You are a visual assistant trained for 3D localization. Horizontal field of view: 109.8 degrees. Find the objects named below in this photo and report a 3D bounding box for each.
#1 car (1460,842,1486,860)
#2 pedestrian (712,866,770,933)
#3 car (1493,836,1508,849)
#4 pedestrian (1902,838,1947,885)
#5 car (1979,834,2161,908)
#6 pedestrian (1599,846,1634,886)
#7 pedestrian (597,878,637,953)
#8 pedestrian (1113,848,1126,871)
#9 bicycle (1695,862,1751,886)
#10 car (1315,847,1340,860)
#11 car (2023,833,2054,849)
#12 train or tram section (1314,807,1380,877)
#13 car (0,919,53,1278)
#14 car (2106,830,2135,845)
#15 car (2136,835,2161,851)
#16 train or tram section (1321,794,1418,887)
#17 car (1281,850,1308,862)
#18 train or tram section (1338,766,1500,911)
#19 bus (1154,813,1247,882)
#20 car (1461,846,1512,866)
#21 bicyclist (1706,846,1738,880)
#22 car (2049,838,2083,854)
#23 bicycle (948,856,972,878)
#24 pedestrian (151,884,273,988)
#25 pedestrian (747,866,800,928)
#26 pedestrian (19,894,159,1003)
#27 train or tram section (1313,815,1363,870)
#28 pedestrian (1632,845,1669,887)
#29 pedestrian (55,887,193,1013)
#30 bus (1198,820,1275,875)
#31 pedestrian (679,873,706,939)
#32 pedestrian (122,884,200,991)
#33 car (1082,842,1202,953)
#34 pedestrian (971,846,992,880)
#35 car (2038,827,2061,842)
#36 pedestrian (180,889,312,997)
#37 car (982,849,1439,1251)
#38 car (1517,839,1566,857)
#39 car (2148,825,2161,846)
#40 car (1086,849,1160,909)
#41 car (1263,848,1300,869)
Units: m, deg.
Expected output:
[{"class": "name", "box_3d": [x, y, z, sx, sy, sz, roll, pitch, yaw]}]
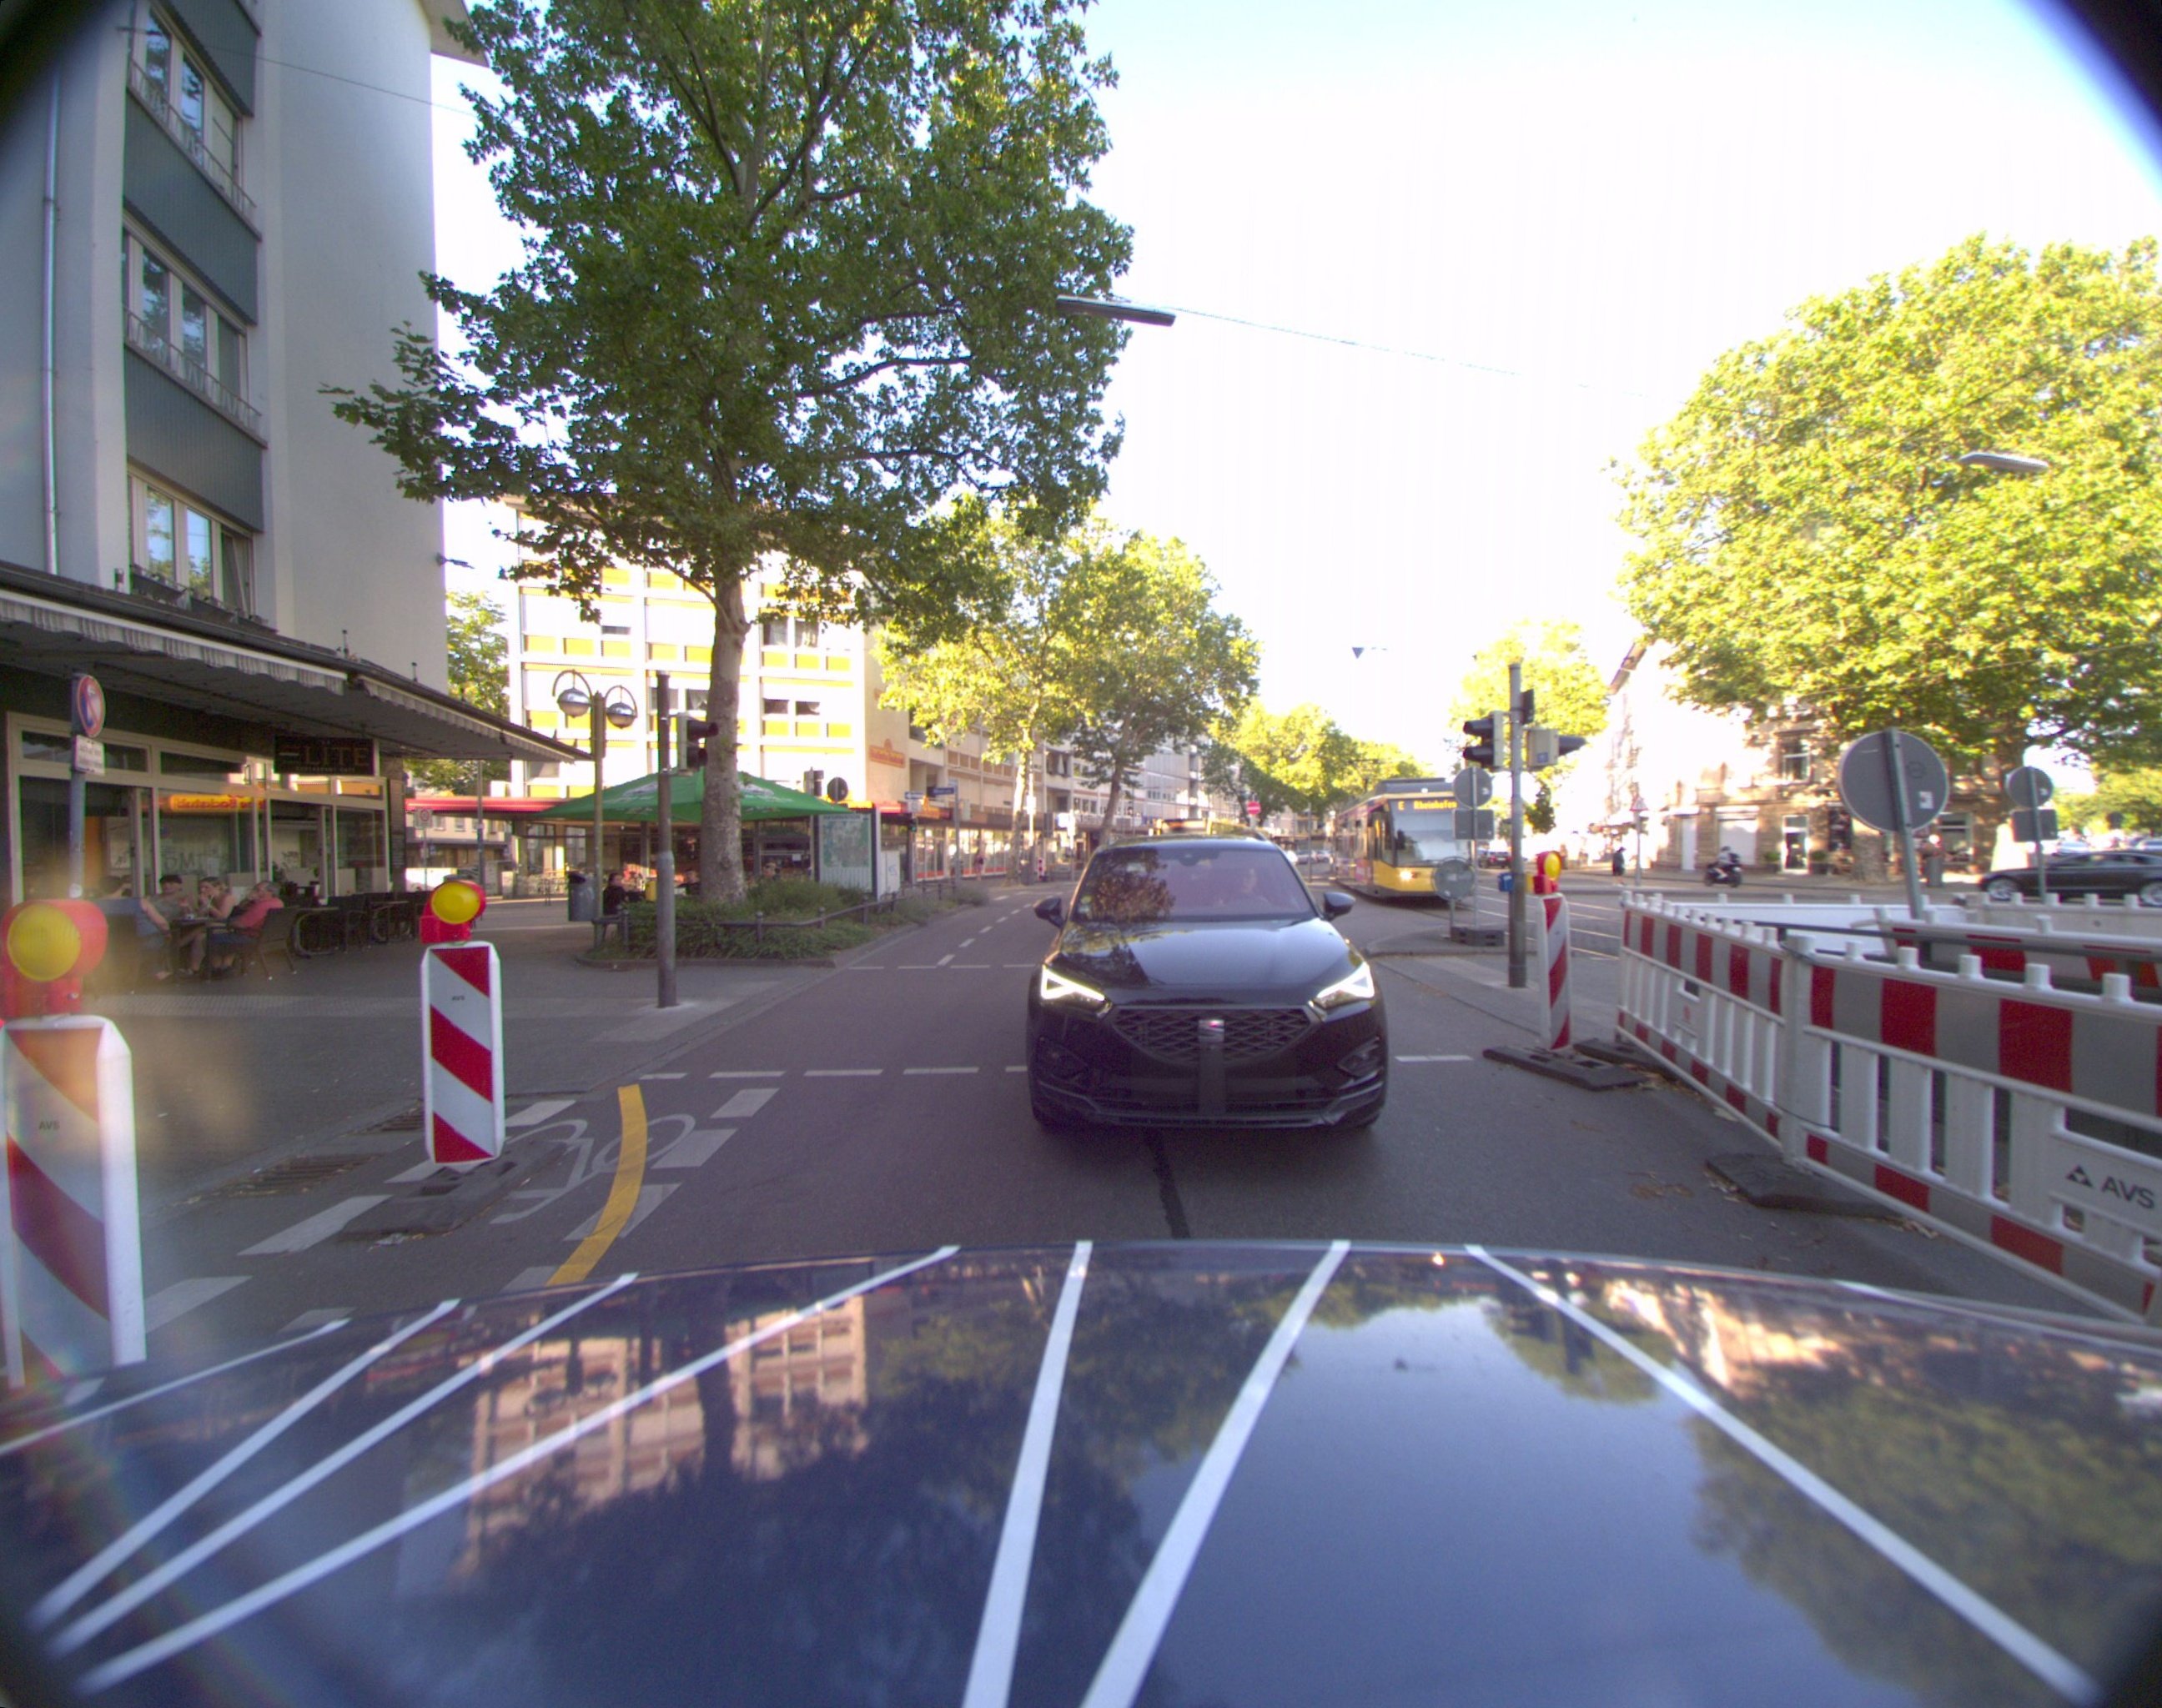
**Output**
[{"class": "car", "box_3d": [35.864, -0.248, 69.419, 1.949, 1.645, 4.699, 0, 0, 29]}, {"class": "pedestrian", "box_3d": [-6.813, 0.901, 15.264, 0.718, 1.278, 0.769, 0, 1, 14]}, {"class": "car", "box_3d": [71.603, -1.977, 129.634, 2.162, 2.110, 4.987, 1, 1, 29]}, {"class": "pedestrian", "box_3d": [31.618, 0.279, 28.482, 0.797, 1.746, 0.802, -1, 1, 0]}, {"class": "car", "box_3d": [25.894, 0.374, 18.718, 1.900, 1.657, 4.584, -2, 1, -6]}, {"class": "pedestrian", "box_3d": [20.157, 0.444, 28.583, 0.799, 1.500, 0.800, -1, 1, -28]}, {"class": "pedestrian", "box_3d": [-7.785, 1.022, 12.752, 0.469, 1.212, 0.431, -2, 1, -44]}, {"class": "pedestrian", "box_3d": [2.968, 0.399, 58.393, 0.748, 1.747, 0.903, 0, 1, 17]}, {"class": "bicycle", "box_3d": [25.153, 0.765, 29.804, 0.561, 0.857, 1.800, -1, 1, -7]}, {"class": "car", "box_3d": [29.793, -0.086, 91.855, 2.627, 1.464, 1.201, -1, 2, 3]}, {"class": "car", "box_3d": [93.931, -1.287, 74.514, 4.007, 1.485, 1.723, -1, 1, -36]}, {"class": "train or tram section", "box_3d": [15.026, -0.660, 43.532, 2.874, 3.467, 10.350, -1, 1, 16]}, {"class": "car", "box_3d": [-5.164, 1.001, 1.428, 1.623, 1.457, 3.604, 2, 0, -2]}, {"class": "car", "box_3d": [108.780, -1.690, 79.480, 4.007, 1.485, 1.723, -1, 1, -36]}, {"class": "car", "box_3d": [98.521, -1.017, 69.882, 4.007, 1.485, 1.723, -1, 1, -36]}, {"class": "train or tram section", "box_3d": [12.386, -0.547, 33.528, 2.839, 3.467, 10.349, -1, 1, 14]}, {"class": "car", "box_3d": [23.924, 0.213, 85.025, 2.629, 1.209, 1.200, -1, 2, -6]}, {"class": "train or tram section", "box_3d": [9.865, -0.417, 23.460, 2.820, 3.467, 10.348, -1, 1, 14]}, {"class": "bus", "box_3d": [6.322, -0.321, 38.763, 2.749, 3.085, 9.510, 0, 1, 21]}, {"class": "car", "box_3d": [30.802, 0.154, 57.834, 1.997, 1.440, 4.541, 0, 0, 9]}, {"class": "bicyclist", "box_3d": [25.148, 0.342, 29.812, 0.561, 1.287, 0.804, -1, 1, -7]}, {"class": "car", "box_3d": [90.982, -0.755, 70.177, 4.007, 1.485, 1.723, -1, 1, -36]}, {"class": "bicycle", "box_3d": [-6.671, 0.721, 42.036, 0.528, 1.136, 1.976, 0, 1, 15]}, {"class": "pedestrian", "box_3d": [-10.697, 0.992, 9.383, 0.666, 1.211, 0.717, 0, 0, -5]}, {"class": "pedestrian", "box_3d": [-6.545, 0.899, 16.188, 0.718, 1.278, 0.769, 0, 1, 13]}, {"class": "pedestrian", "box_3d": [-11.091, 1.032, 8.527, 0.718, 1.123, 0.649, 1, 0, -24]}, {"class": "train or tram section", "box_3d": [17.917, -0.783, 53.442, 2.839, 3.467, 10.350, -1, 1, 16]}, {"class": "pedestrian", "box_3d": [20.952, 0.423, 27.948, 0.798, 1.500, 0.800, -1, 1, -23]}, {"class": "pedestrian", "box_3d": [-10.224, 0.990, 8.152, 0.651, 1.244, 0.716, 1, 0, -24]}, {"class": "bus", "box_3d": [9.886, -0.434, 47.492, 2.748, 3.085, 9.512, 0, 1, 24]}, {"class": "pedestrian", "box_3d": [-7.416, 0.972, 14.487, 0.433, 1.212, 0.467, 1, 1, -29]}, {"class": "pedestrian", "box_3d": [-11.248, 0.992, 9.295, 0.519, 1.236, 0.553, 0, 0, 34]}, {"class": "car", "box_3d": [1.118, 0.643, 13.536, 1.743, 1.630, 4.300, -2, 0, 6]}, {"class": "pedestrian", "box_3d": [-5.215, 0.455, 40.000, 0.748, 1.747, 0.903, 0, 1, 17]}, {"class": "car", "box_3d": [134.603, -2.755, 105.589, 4.007, 2.004, 1.846, -1, 1, -36]}, {"class": "pedestrian", "box_3d": [-9.852, 1.026, 9.003, 0.847, 1.191, 0.649, 1, 0, -22]}, {"class": "car", "box_3d": [0.679, 0.819, 5.314, 1.848, 1.648, 4.300, -2, 0, 4]}, {"class": "car", "box_3d": [52.605, -0.668, 86.792, 4.651, 1.965, 1.901, -1, 1, -11]}, {"class": "car", "box_3d": [111.338, -1.913, 78.094, 4.007, 2.131, 1.846, -1, 1, -36]}, {"class": "car", "box_3d": [1.311, 0.633, 21.762, 1.743, 1.492, 4.301, -2, 0, 7]}, {"class": "car", "box_3d": [15.211, 0.310, 57.553, 1.908, 1.467, 4.425, 0, 1, 26]}]
